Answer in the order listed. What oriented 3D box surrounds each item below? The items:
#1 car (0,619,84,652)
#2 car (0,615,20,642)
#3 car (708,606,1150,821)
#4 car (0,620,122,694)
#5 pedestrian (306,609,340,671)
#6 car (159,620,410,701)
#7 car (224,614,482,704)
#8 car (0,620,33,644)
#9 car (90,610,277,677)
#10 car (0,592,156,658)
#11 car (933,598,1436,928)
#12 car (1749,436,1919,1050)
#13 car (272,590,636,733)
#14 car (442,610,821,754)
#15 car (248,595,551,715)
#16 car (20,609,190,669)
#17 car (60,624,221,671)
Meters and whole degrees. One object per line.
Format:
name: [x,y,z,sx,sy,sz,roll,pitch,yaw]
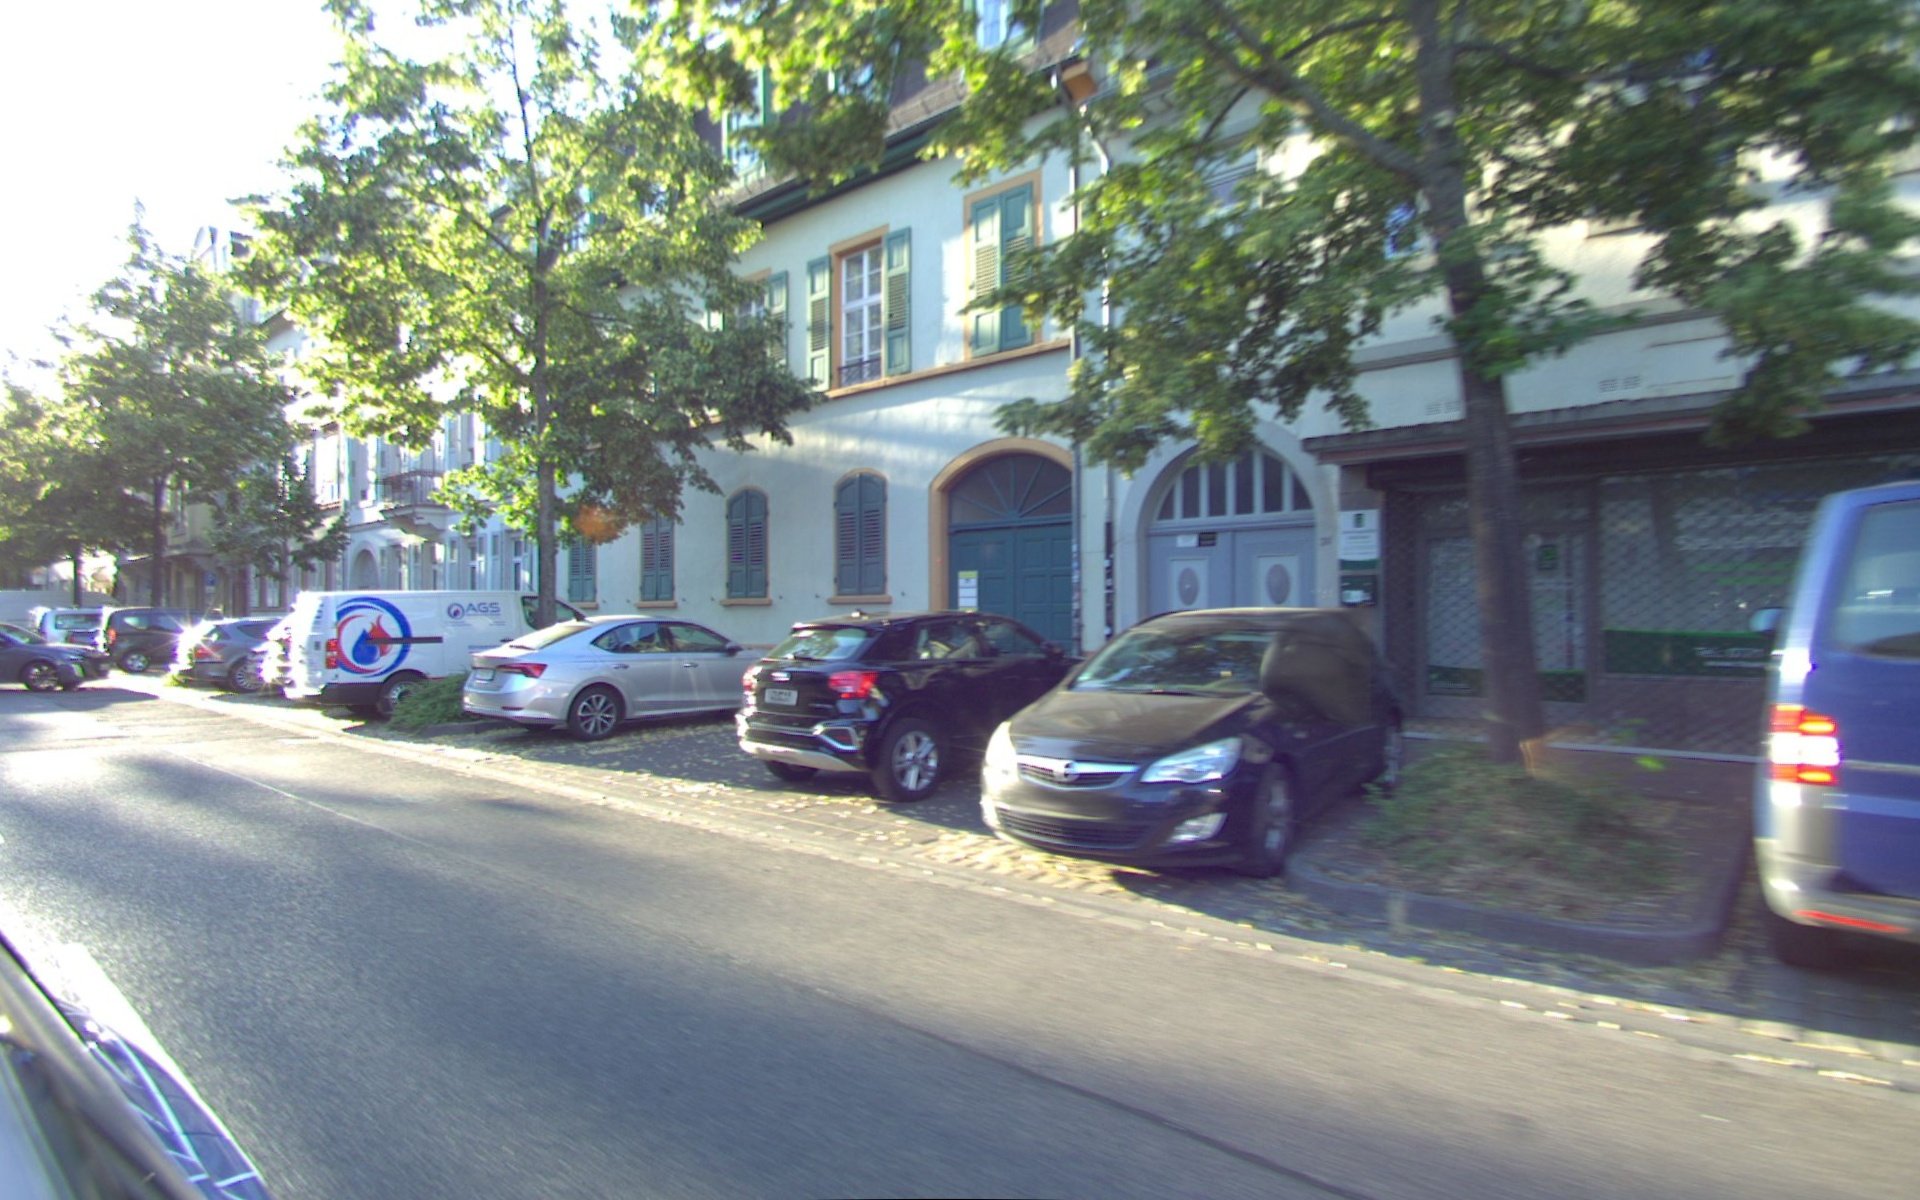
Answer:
car: [-46.945,1.783,50.867,1.969,1.494,4.143,-2,0,40]
car: [-67.737,2.041,69.394,2.052,1.825,4.657,-2,0,42]
car: [-0.129,0.845,9.393,1.905,1.512,3.879,-2,-1,44]
car: [-20.063,1.170,20.830,4.001,1.472,1.691,0,-1,-22]
pedestrian: [-19.097,1.183,30.339,0.779,1.815,0.655,-1,-2,42]
car: [-14.001,1.174,21.132,1.962,1.495,3.995,-2,-2,41]
car: [-11.827,1.069,19.877,1.965,1.567,3.992,-2,-2,44]
car: [-61.801,2.082,64.141,1.821,1.433,4.337,-2,0,41]
car: [-22.552,1.205,29.517,1.807,1.820,4.093,-2,-2,43]
car: [-38.239,1.009,43.410,2.170,2.641,5.599,-2,0,41]
car: [1.849,0.776,7.016,1.838,1.512,4.287,-2,0,36]
car: [5.042,0.449,4.524,2.068,1.991,4.436,-2,-1,42]
car: [-7.847,0.872,16.128,1.973,1.922,4.819,-2,-2,41]
car: [-4.103,0.925,13.211,1.734,1.496,4.429,-2,-1,43]
car: [-9.871,0.898,18.105,1.893,1.884,4.381,-2,-2,42]
car: [-30.446,1.336,36.130,1.919,1.968,4.450,-2,-1,43]
car: [-27.984,1.575,34.639,1.593,1.450,4.107,-2,-1,42]
